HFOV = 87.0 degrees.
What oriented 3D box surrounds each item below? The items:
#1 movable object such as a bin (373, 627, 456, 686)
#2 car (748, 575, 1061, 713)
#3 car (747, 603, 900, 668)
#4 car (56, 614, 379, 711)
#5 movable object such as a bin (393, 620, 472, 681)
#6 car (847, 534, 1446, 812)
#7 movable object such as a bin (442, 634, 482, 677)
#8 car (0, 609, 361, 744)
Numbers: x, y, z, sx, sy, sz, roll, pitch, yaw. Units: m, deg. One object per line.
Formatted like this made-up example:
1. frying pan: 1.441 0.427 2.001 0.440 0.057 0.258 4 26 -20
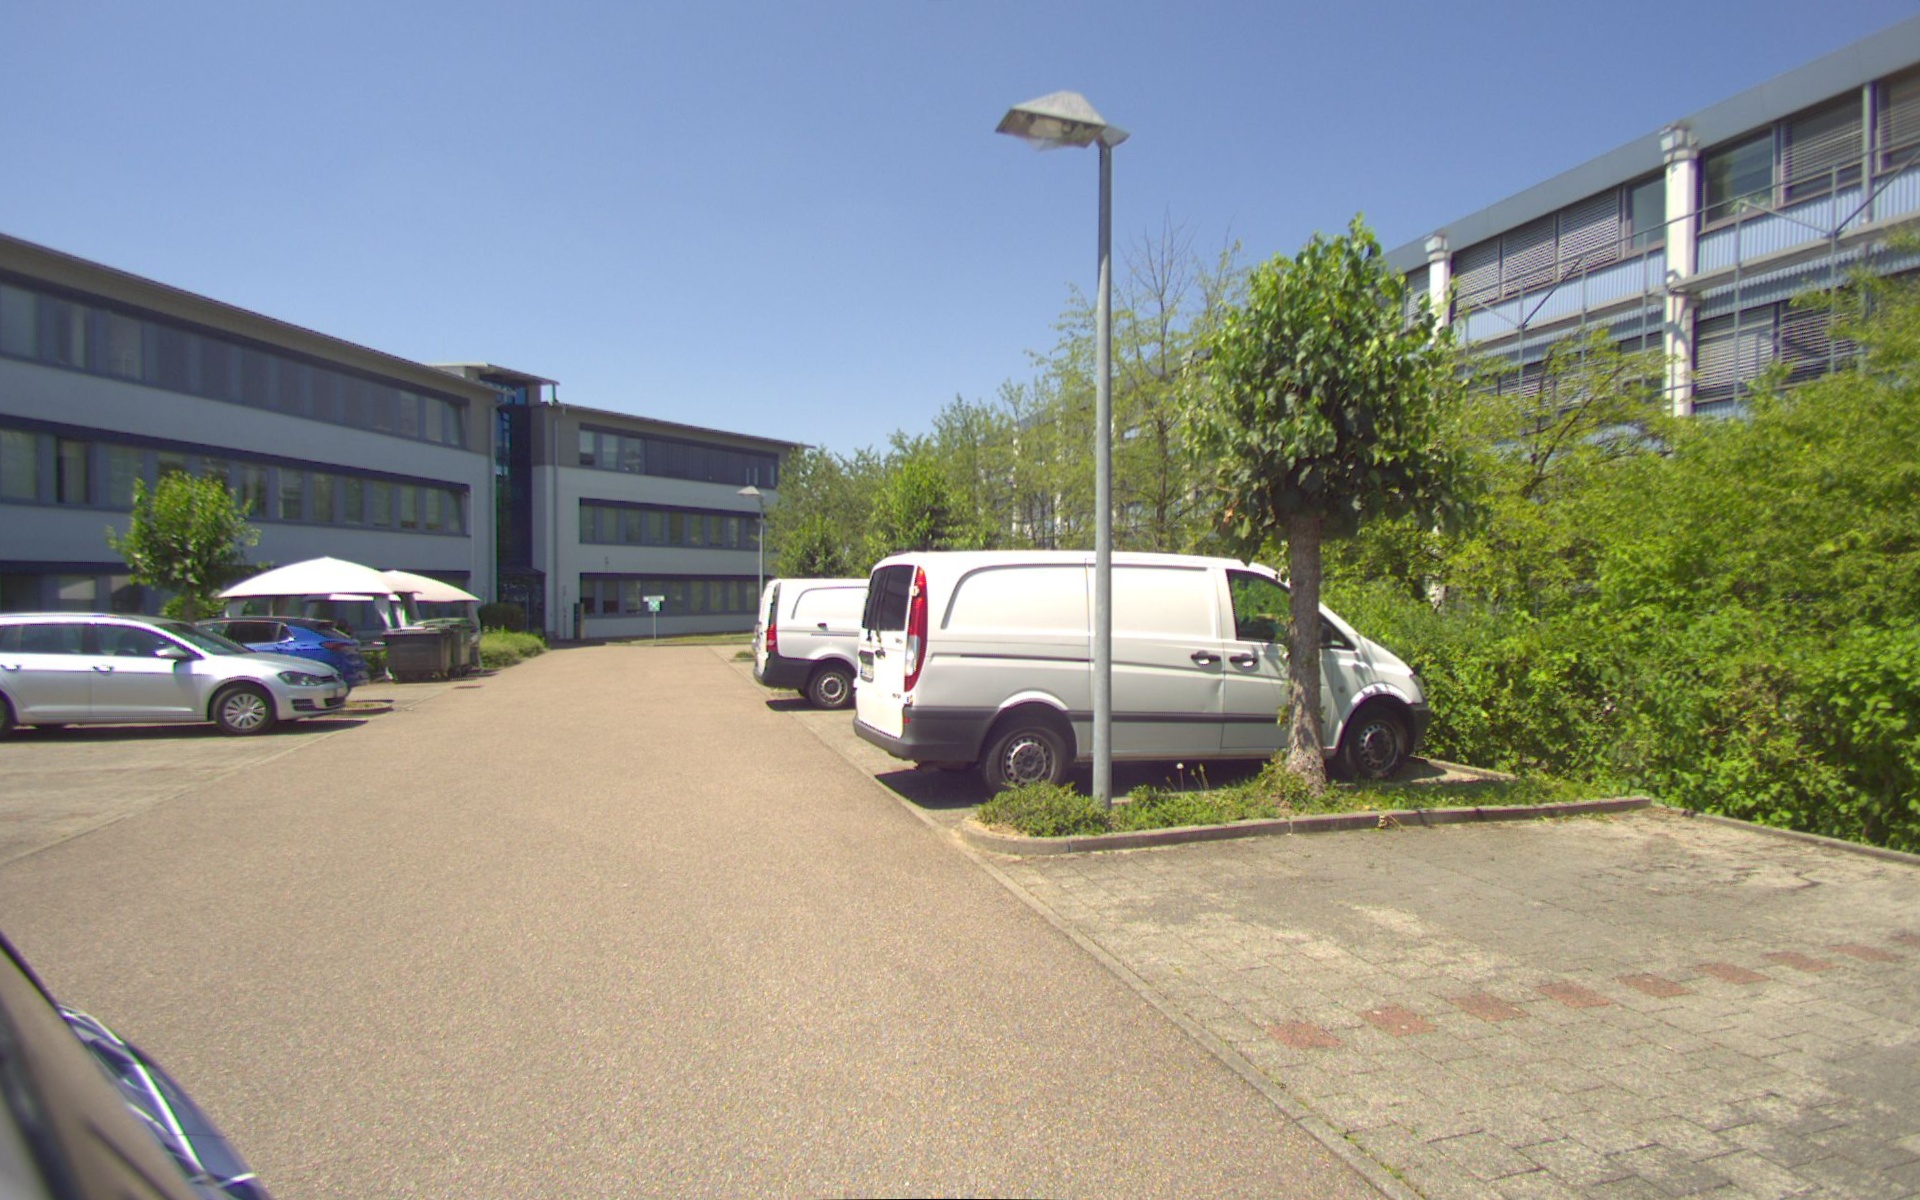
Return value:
1. movable object such as a bin: -11.585 1.185 21.541 1.342 1.198 0.999 0 -1 -12
2. car: -0.882 0.606 15.525 4.443 1.896 1.835 0 -1 -18
3. car: -3.567 0.887 26.374 3.701 1.569 1.666 0 -1 -18
4. car: -11.488 0.950 15.958 3.761 1.402 1.657 1 -1 -18
5. movable object such as a bin: -11.749 1.101 22.595 1.342 1.306 1.046 0 -1 -12
6. car: 1.527 0.502 8.577 4.654 1.920 1.835 0 -1 -18
7. movable object such as a bin: -11.616 1.285 23.608 0.680 0.956 0.724 0 -1 -12
8. car: -10.213 0.890 12.589 4.443 1.508 1.835 1 -1 -18
